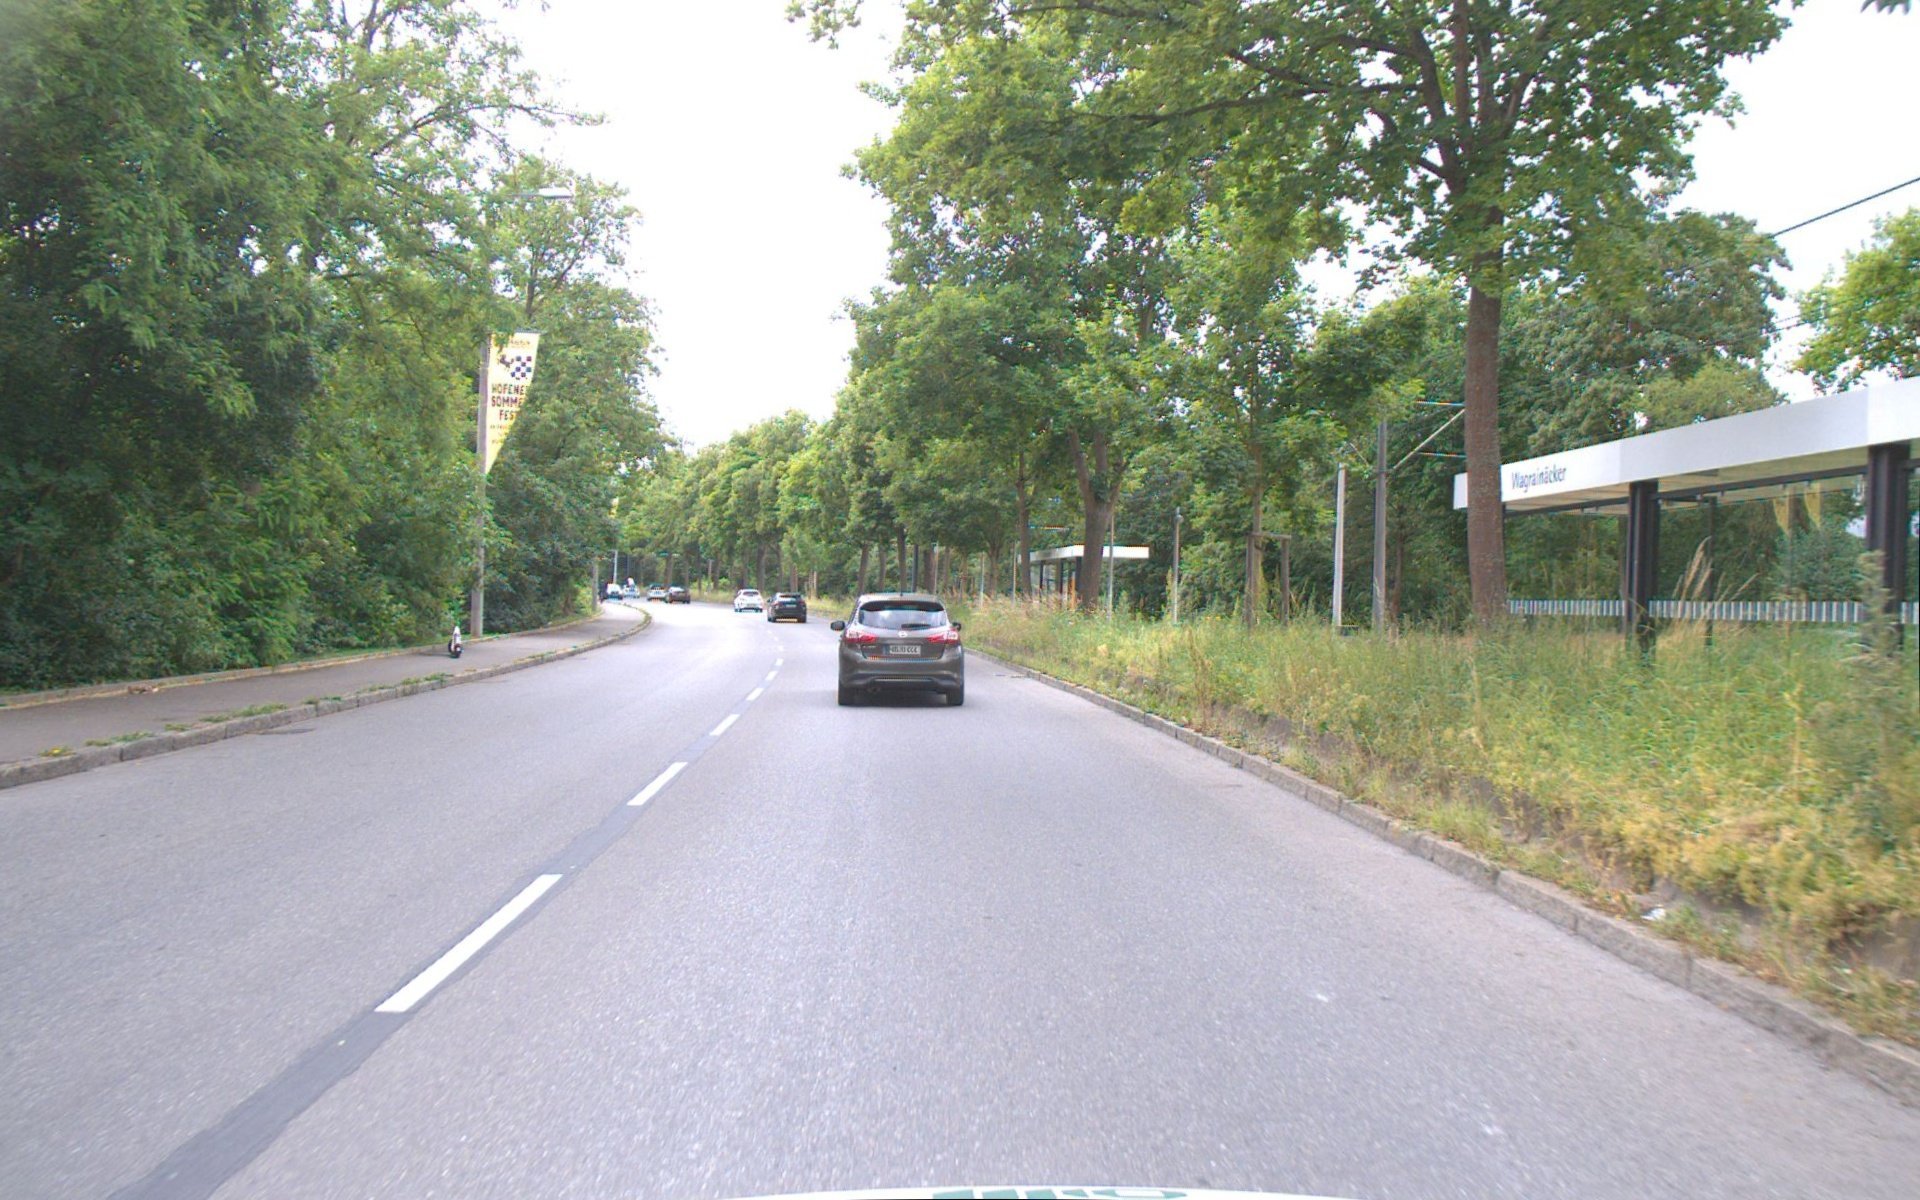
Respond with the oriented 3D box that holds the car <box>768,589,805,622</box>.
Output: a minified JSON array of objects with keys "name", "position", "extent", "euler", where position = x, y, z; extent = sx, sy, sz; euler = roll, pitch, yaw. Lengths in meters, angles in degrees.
[{"name":"car","position":[-8.694,0.259,82.890],"extent":[1.742,1.497,3.995],"euler":[3,1,-6]}]

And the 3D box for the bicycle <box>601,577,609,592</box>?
[{"name":"bicycle","position":[-26.822,-1.152,124.793],"extent":[0.480,1.048,1.120],"euler":[3,1,-15]}]

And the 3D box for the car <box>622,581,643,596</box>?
[{"name":"car","position":[-36.096,-1.270,182.146],"extent":[1.748,1.497,3.981],"euler":[3,1,-17]}]

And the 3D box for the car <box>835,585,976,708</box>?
[{"name":"car","position":[-0.868,0.602,23.958],"extent":[1.781,1.534,3.996],"euler":[1,1,-6]}]

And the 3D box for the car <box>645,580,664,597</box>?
[{"name":"car","position":[-29.957,-1.144,162.083],"extent":[1.744,1.497,3.991],"euler":[2,1,-10]}]

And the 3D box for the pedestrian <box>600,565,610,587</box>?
[{"name":"pedestrian","position":[-26.794,-1.816,124.740],"extent":[0.607,1.598,0.846],"euler":[3,0,-15]}]

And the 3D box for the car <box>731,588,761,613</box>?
[{"name":"car","position":[-14.392,0.008,110.987],"extent":[1.744,1.497,3.991],"euler":[3,1,-10]}]

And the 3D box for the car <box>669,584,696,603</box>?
[{"name":"car","position":[-24.719,-0.585,147.077],"extent":[1.748,1.497,3.981],"euler":[5,0,-17]}]

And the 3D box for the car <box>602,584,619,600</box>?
[{"name":"car","position":[-34.762,-0.782,164.590],"extent":[1.568,1.532,3.018],"euler":[0,0,-13]}]

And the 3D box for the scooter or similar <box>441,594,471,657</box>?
[{"name":"scooter or similar","position":[-10.118,0.506,33.198],"extent":[0.360,1.204,1.288],"euler":[2,0,-24]}]

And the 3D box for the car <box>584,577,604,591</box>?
[{"name":"car","position":[-46.261,-2.044,208.912],"extent":[1.752,1.497,3.973],"euler":[3,1,-23]}]
